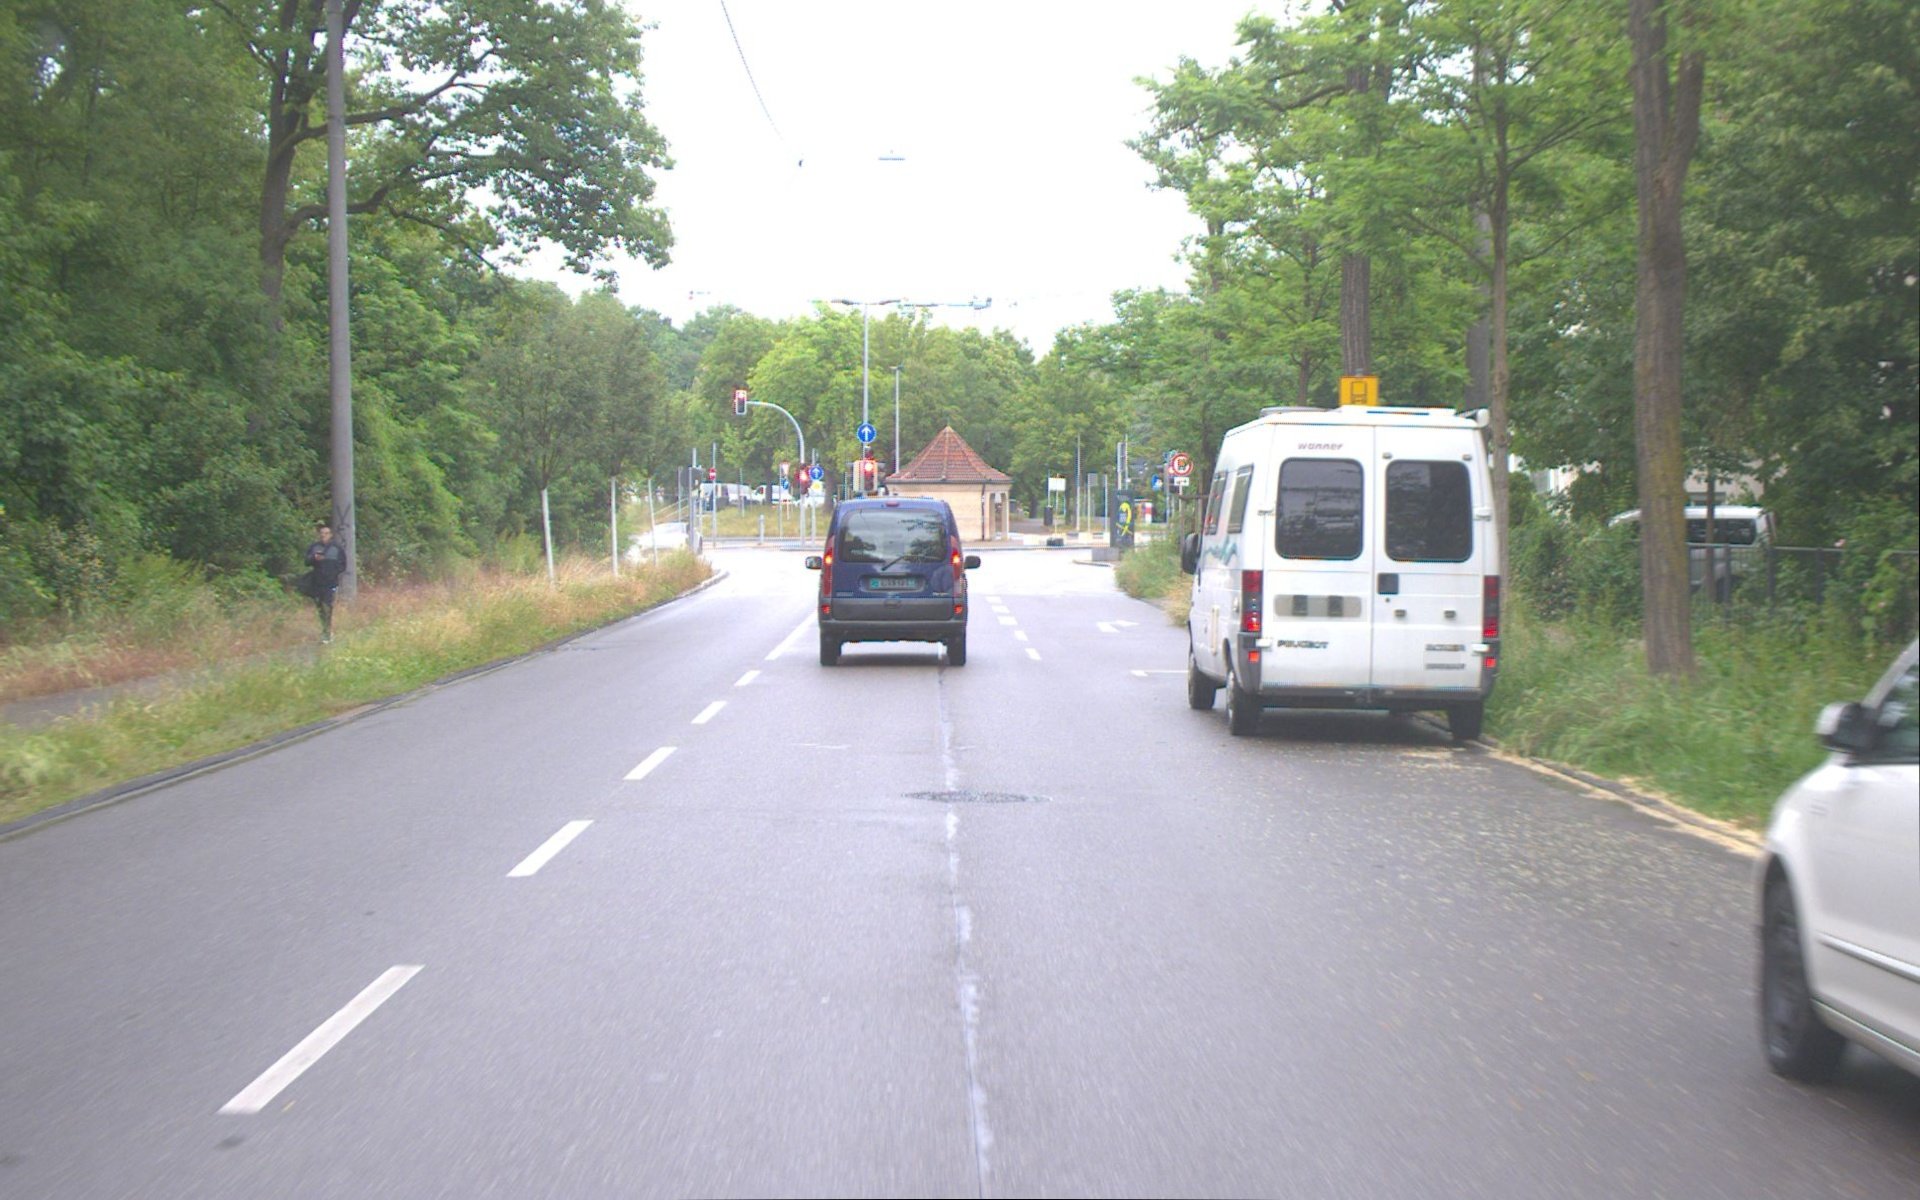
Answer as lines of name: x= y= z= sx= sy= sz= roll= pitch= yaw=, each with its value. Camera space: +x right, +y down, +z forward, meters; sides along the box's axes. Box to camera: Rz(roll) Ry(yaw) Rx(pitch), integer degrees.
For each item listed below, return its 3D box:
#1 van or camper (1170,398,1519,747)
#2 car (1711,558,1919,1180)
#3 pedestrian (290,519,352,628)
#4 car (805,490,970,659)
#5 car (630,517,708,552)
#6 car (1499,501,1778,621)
van or camper: x=2.999 y=-0.265 z=28.101 sx=2.037 sy=2.471 sz=5.639 roll=3 pitch=1 yaw=-1
car: x=3.105 y=0.672 z=8.607 sx=1.571 sy=1.467 sz=3.765 roll=2 pitch=1 yaw=0
pedestrian: x=-9.427 y=-0.399 z=50.703 sx=0.781 sy=1.602 sz=0.732 roll=0 pitch=1 yaw=-1
car: x=-0.799 y=-0.324 z=38.838 sx=1.731 sy=1.780 sz=4.000 roll=1 pitch=1 yaw=-1
car: x=-12.288 y=-2.764 z=145.312 sx=1.995 sy=1.307 sz=4.357 roll=-2 pitch=2 yaw=13
car: x=10.938 y=-0.650 z=55.575 sx=4.306 sy=1.811 sz=1.873 roll=2 pitch=1 yaw=11
